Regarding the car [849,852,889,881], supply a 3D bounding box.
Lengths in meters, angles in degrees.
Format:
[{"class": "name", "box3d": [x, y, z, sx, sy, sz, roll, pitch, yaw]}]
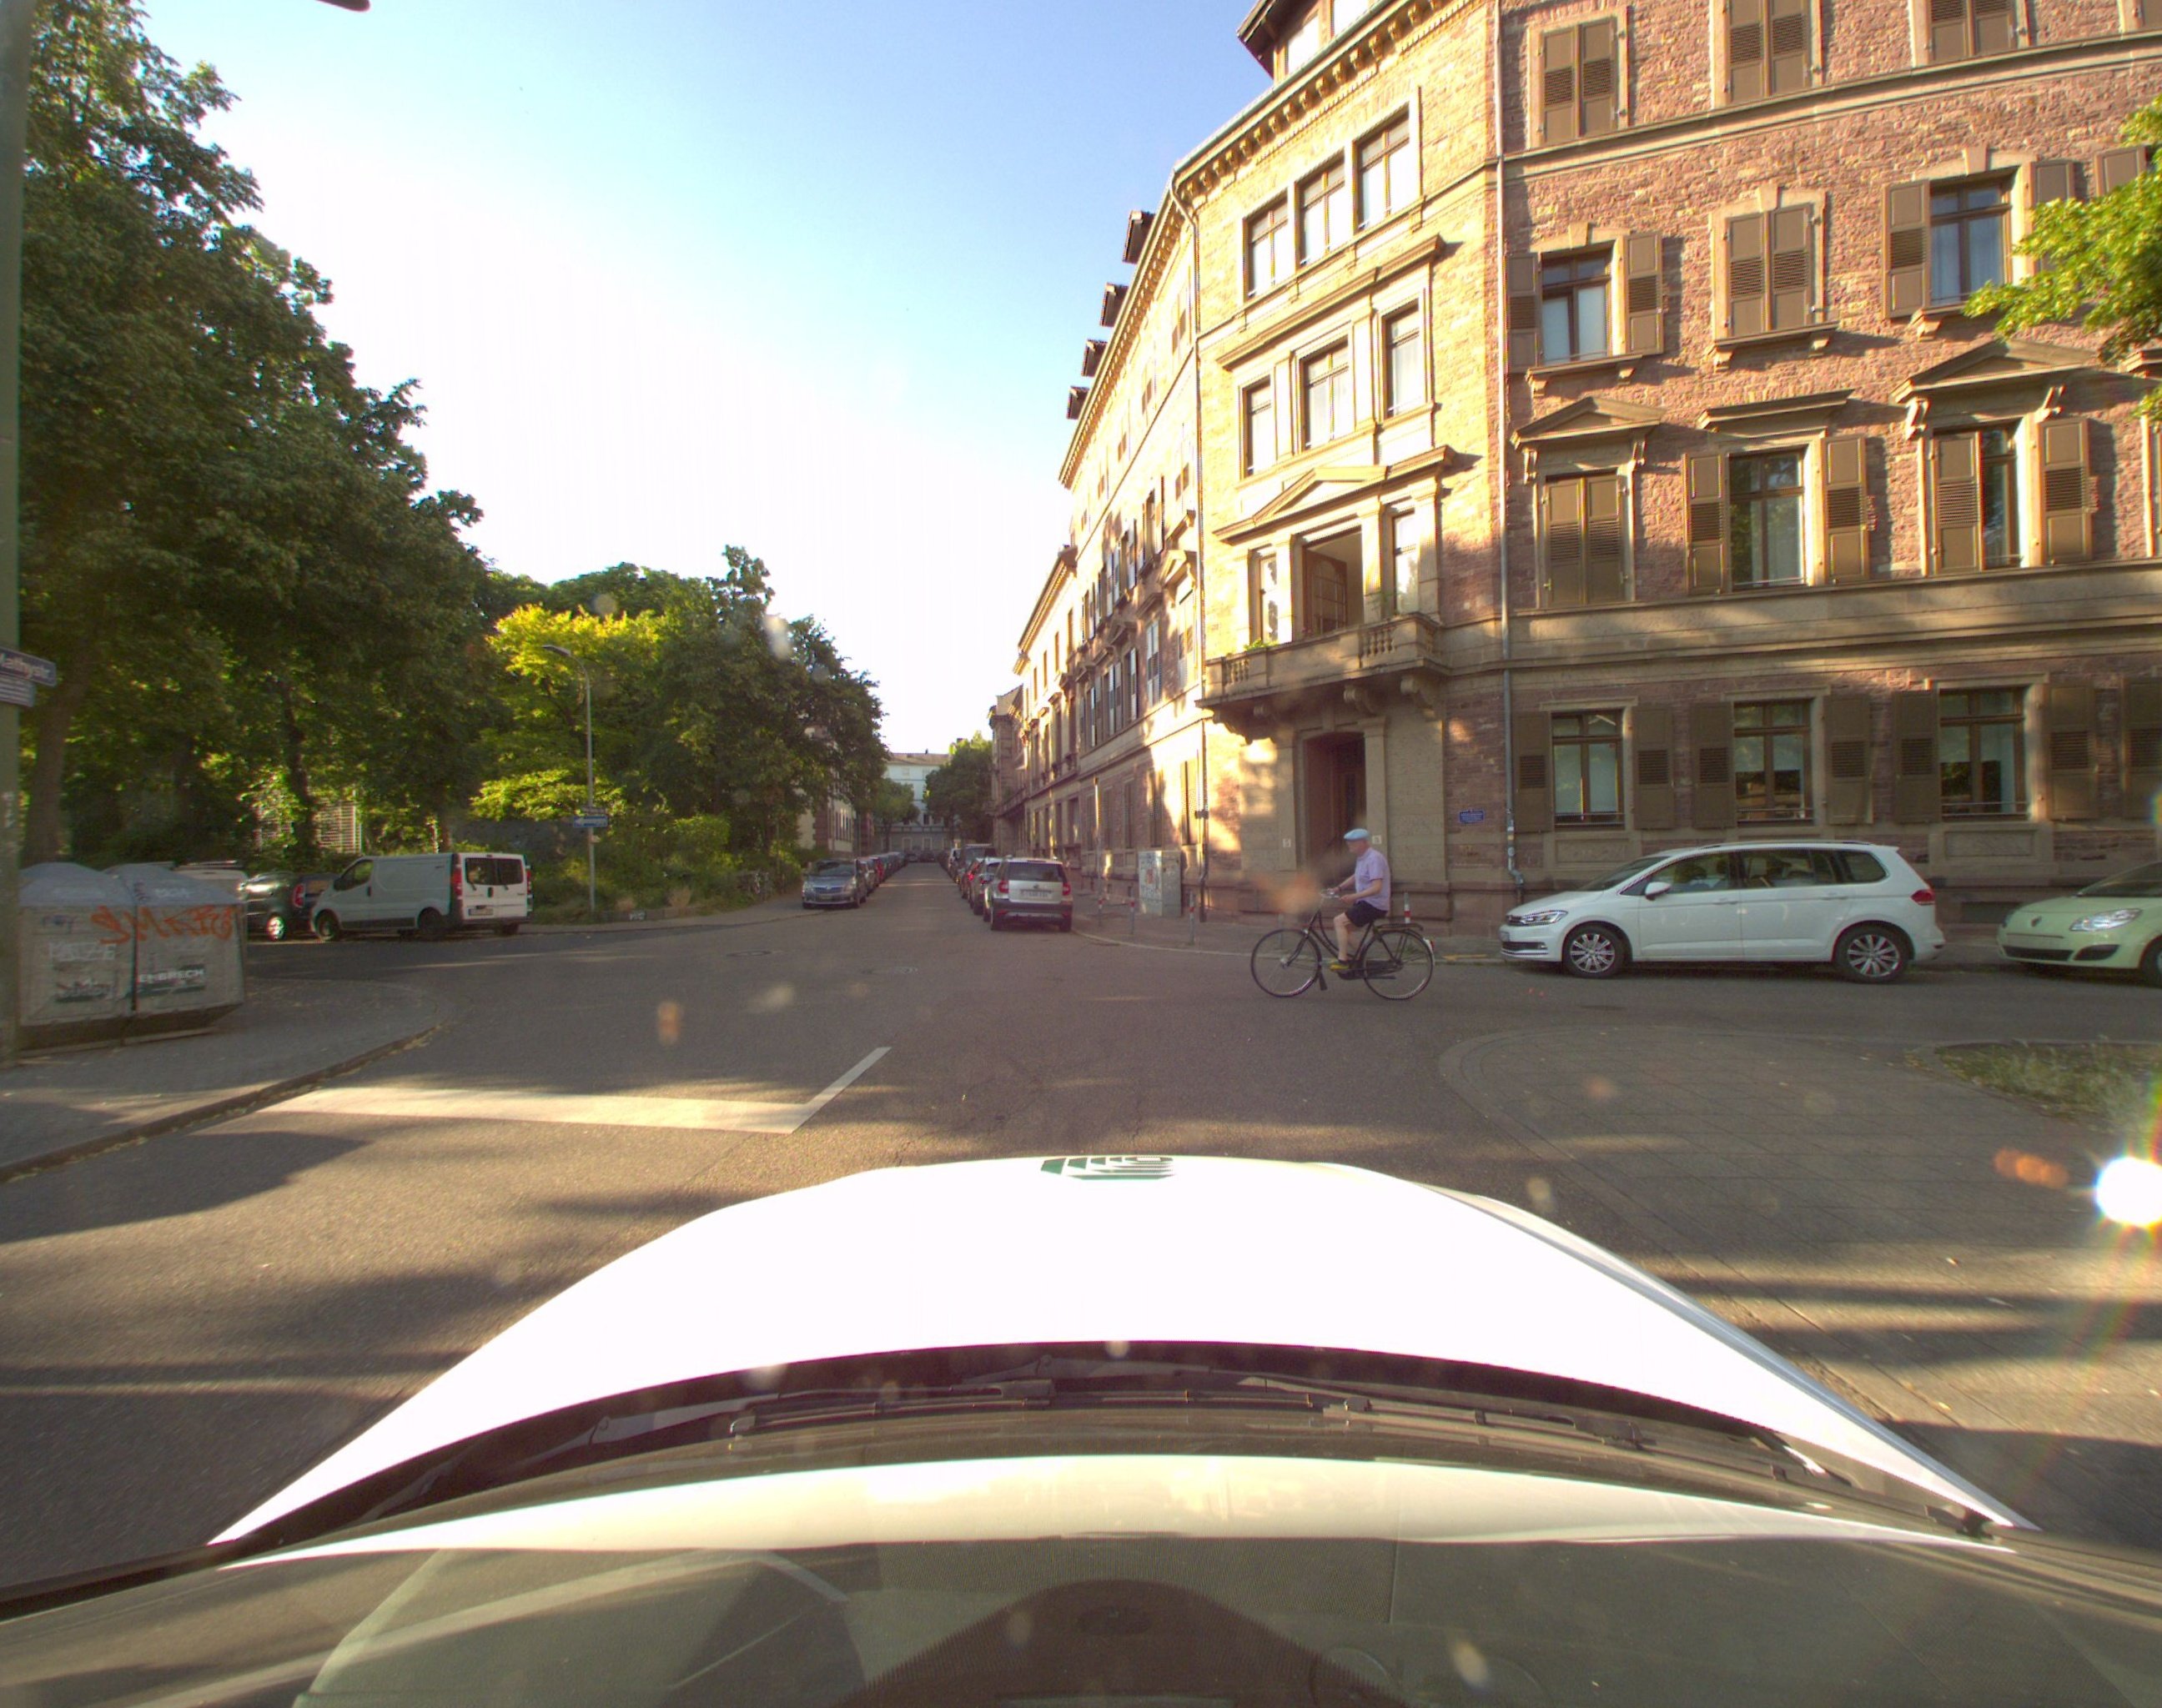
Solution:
[{"class": "car", "box3d": [-11.970, 0.665, 46.102, 1.826, 1.500, 3.917, 2, 0, -10]}]

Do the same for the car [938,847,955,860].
[{"class": "car", "box3d": [-19.485, -0.069, 117.672, 1.998, 1.684, 3.977, 0, -2, -16]}]

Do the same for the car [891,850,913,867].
[{"class": "car", "box3d": [-16.912, 0.445, 77.184, 1.826, 1.500, 3.917, 2, 0, -10]}]

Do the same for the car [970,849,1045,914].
[{"class": "car", "box3d": [-2.312, 0.741, 24.495, 1.826, 1.723, 4.528, 2, 0, -10]}]

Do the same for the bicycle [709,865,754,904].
[{"class": "bicycle", "box3d": [-10.841, 0.909, 25.357, 0.596, 1.101, 2.620, -1, 0, -8]}]

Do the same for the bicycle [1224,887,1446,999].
[{"class": "bicycle", "box3d": [2.577, 0.892, 8.450, 2.102, 1.054, 0.703, -1, 0, 12]}]

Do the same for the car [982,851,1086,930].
[{"class": "car", "box3d": [-1.240, 0.793, 19.449, 1.916, 1.657, 4.171, 2, -1, -11]}]

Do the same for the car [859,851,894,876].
[{"class": "car", "box3d": [-13.125, 0.594, 52.507, 1.826, 1.500, 3.917, 2, 0, -10]}]

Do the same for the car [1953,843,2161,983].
[{"class": "car", "box3d": [12.888, 0.637, 9.254, 3.686, 1.490, 1.748, -1, -2, 13]}]

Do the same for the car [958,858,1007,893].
[{"class": "car", "box3d": [-4.252, 0.880, 34.580, 1.798, 1.345, 3.941, 2, 0, -11]}]

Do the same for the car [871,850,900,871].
[{"class": "car", "box3d": [-14.971, 0.500, 62.528, 1.826, 1.500, 3.917, 2, 0, -10]}]

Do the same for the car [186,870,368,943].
[{"class": "car", "box3d": [-19.917, 1.264, 20.200, 3.671, 1.637, 1.583, -1, 0, 16]}]

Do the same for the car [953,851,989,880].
[{"class": "car", "box3d": [-6.262, 0.627, 46.156, 1.798, 1.523, 3.941, 2, 0, -11]}]

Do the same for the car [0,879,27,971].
[{"class": "car", "box3d": [-19.008, 1.108, 12.225, 3.639, 1.447, 1.588, 2, -2, -44]}]

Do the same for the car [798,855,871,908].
[{"class": "car", "box3d": [-8.389, 0.887, 28.034, 1.826, 1.615, 4.276, 2, 0, -10]}]

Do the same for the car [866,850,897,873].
[{"class": "car", "box3d": [-14.113, 0.496, 57.707, 1.826, 1.500, 3.917, 2, 0, -10]}]

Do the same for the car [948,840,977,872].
[{"class": "car", "box3d": [-8.313, 0.131, 56.922, 1.798, 2.072, 3.941, 2, 0, -11]}]

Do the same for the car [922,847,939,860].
[{"class": "car", "box3d": [-21.528, -0.069, 116.651, 1.998, 1.684, 3.977, 0, -2, -16]}]

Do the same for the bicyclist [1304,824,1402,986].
[{"class": "bicyclist", "box3d": [2.783, 0.504, 8.408, 0.865, 1.588, 0.703, -1, 0, 12]}]

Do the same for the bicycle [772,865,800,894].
[{"class": "bicycle", "box3d": [-12.463, 1.044, 34.416, 0.596, 1.101, 2.619, -1, 0, -9]}]

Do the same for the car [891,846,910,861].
[{"class": "car", "box3d": [-19.500, -0.045, 88.064, 1.826, 1.500, 3.917, 2, 0, -10]}]

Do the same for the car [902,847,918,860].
[{"class": "car", "box3d": [-24.281, -0.082, 115.719, 1.998, 1.684, 3.977, 0, -2, -16]}]

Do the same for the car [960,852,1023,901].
[{"class": "car", "box3d": [-3.318, 0.773, 29.650, 1.799, 1.614, 3.938, 2, 0, -13]}]

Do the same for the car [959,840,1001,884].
[{"class": "car", "box3d": [-5.044, 0.366, 40.445, 1.798, 2.072, 3.941, 2, 0, -11]}]

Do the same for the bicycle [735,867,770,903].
[{"class": "bicycle", "box3d": [-11.274, 1.041, 28.032, 0.597, 1.101, 2.618, -1, 0, -10]}]

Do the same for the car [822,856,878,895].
[{"class": "car", "box3d": [-9.716, 0.877, 34.439, 1.826, 1.447, 3.917, 2, 0, -10]}]

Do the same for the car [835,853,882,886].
[{"class": "car", "box3d": [-10.838, 0.707, 39.874, 1.826, 1.478, 3.917, 2, 0, -10]}]

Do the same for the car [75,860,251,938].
[{"class": "car", "box3d": [-24.255, 1.166, 21.536, 3.858, 1.903, 1.584, -1, 0, 17]}]

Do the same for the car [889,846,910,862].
[{"class": "car", "box3d": [-18.503, -0.039, 83.080, 1.826, 1.500, 3.917, 2, 0, -10]}]

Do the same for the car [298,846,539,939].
[{"class": "car", "box3d": [-15.377, 0.858, 18.979, 4.610, 2.003, 1.958, -1, 0, 15]}]

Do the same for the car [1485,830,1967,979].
[{"class": "car", "box3d": [7.843, 0.617, 10.469, 4.450, 1.650, 1.882, -1, -2, 15]}]

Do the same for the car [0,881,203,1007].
[{"class": "car", "box3d": [-13.972, 1.112, 10.296, 3.756, 1.521, 1.588, 2, -2, -44]}]

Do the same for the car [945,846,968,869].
[{"class": "car", "box3d": [-10.429, 0.247, 68.023, 1.798, 1.839, 3.941, 2, 0, -11]}]
